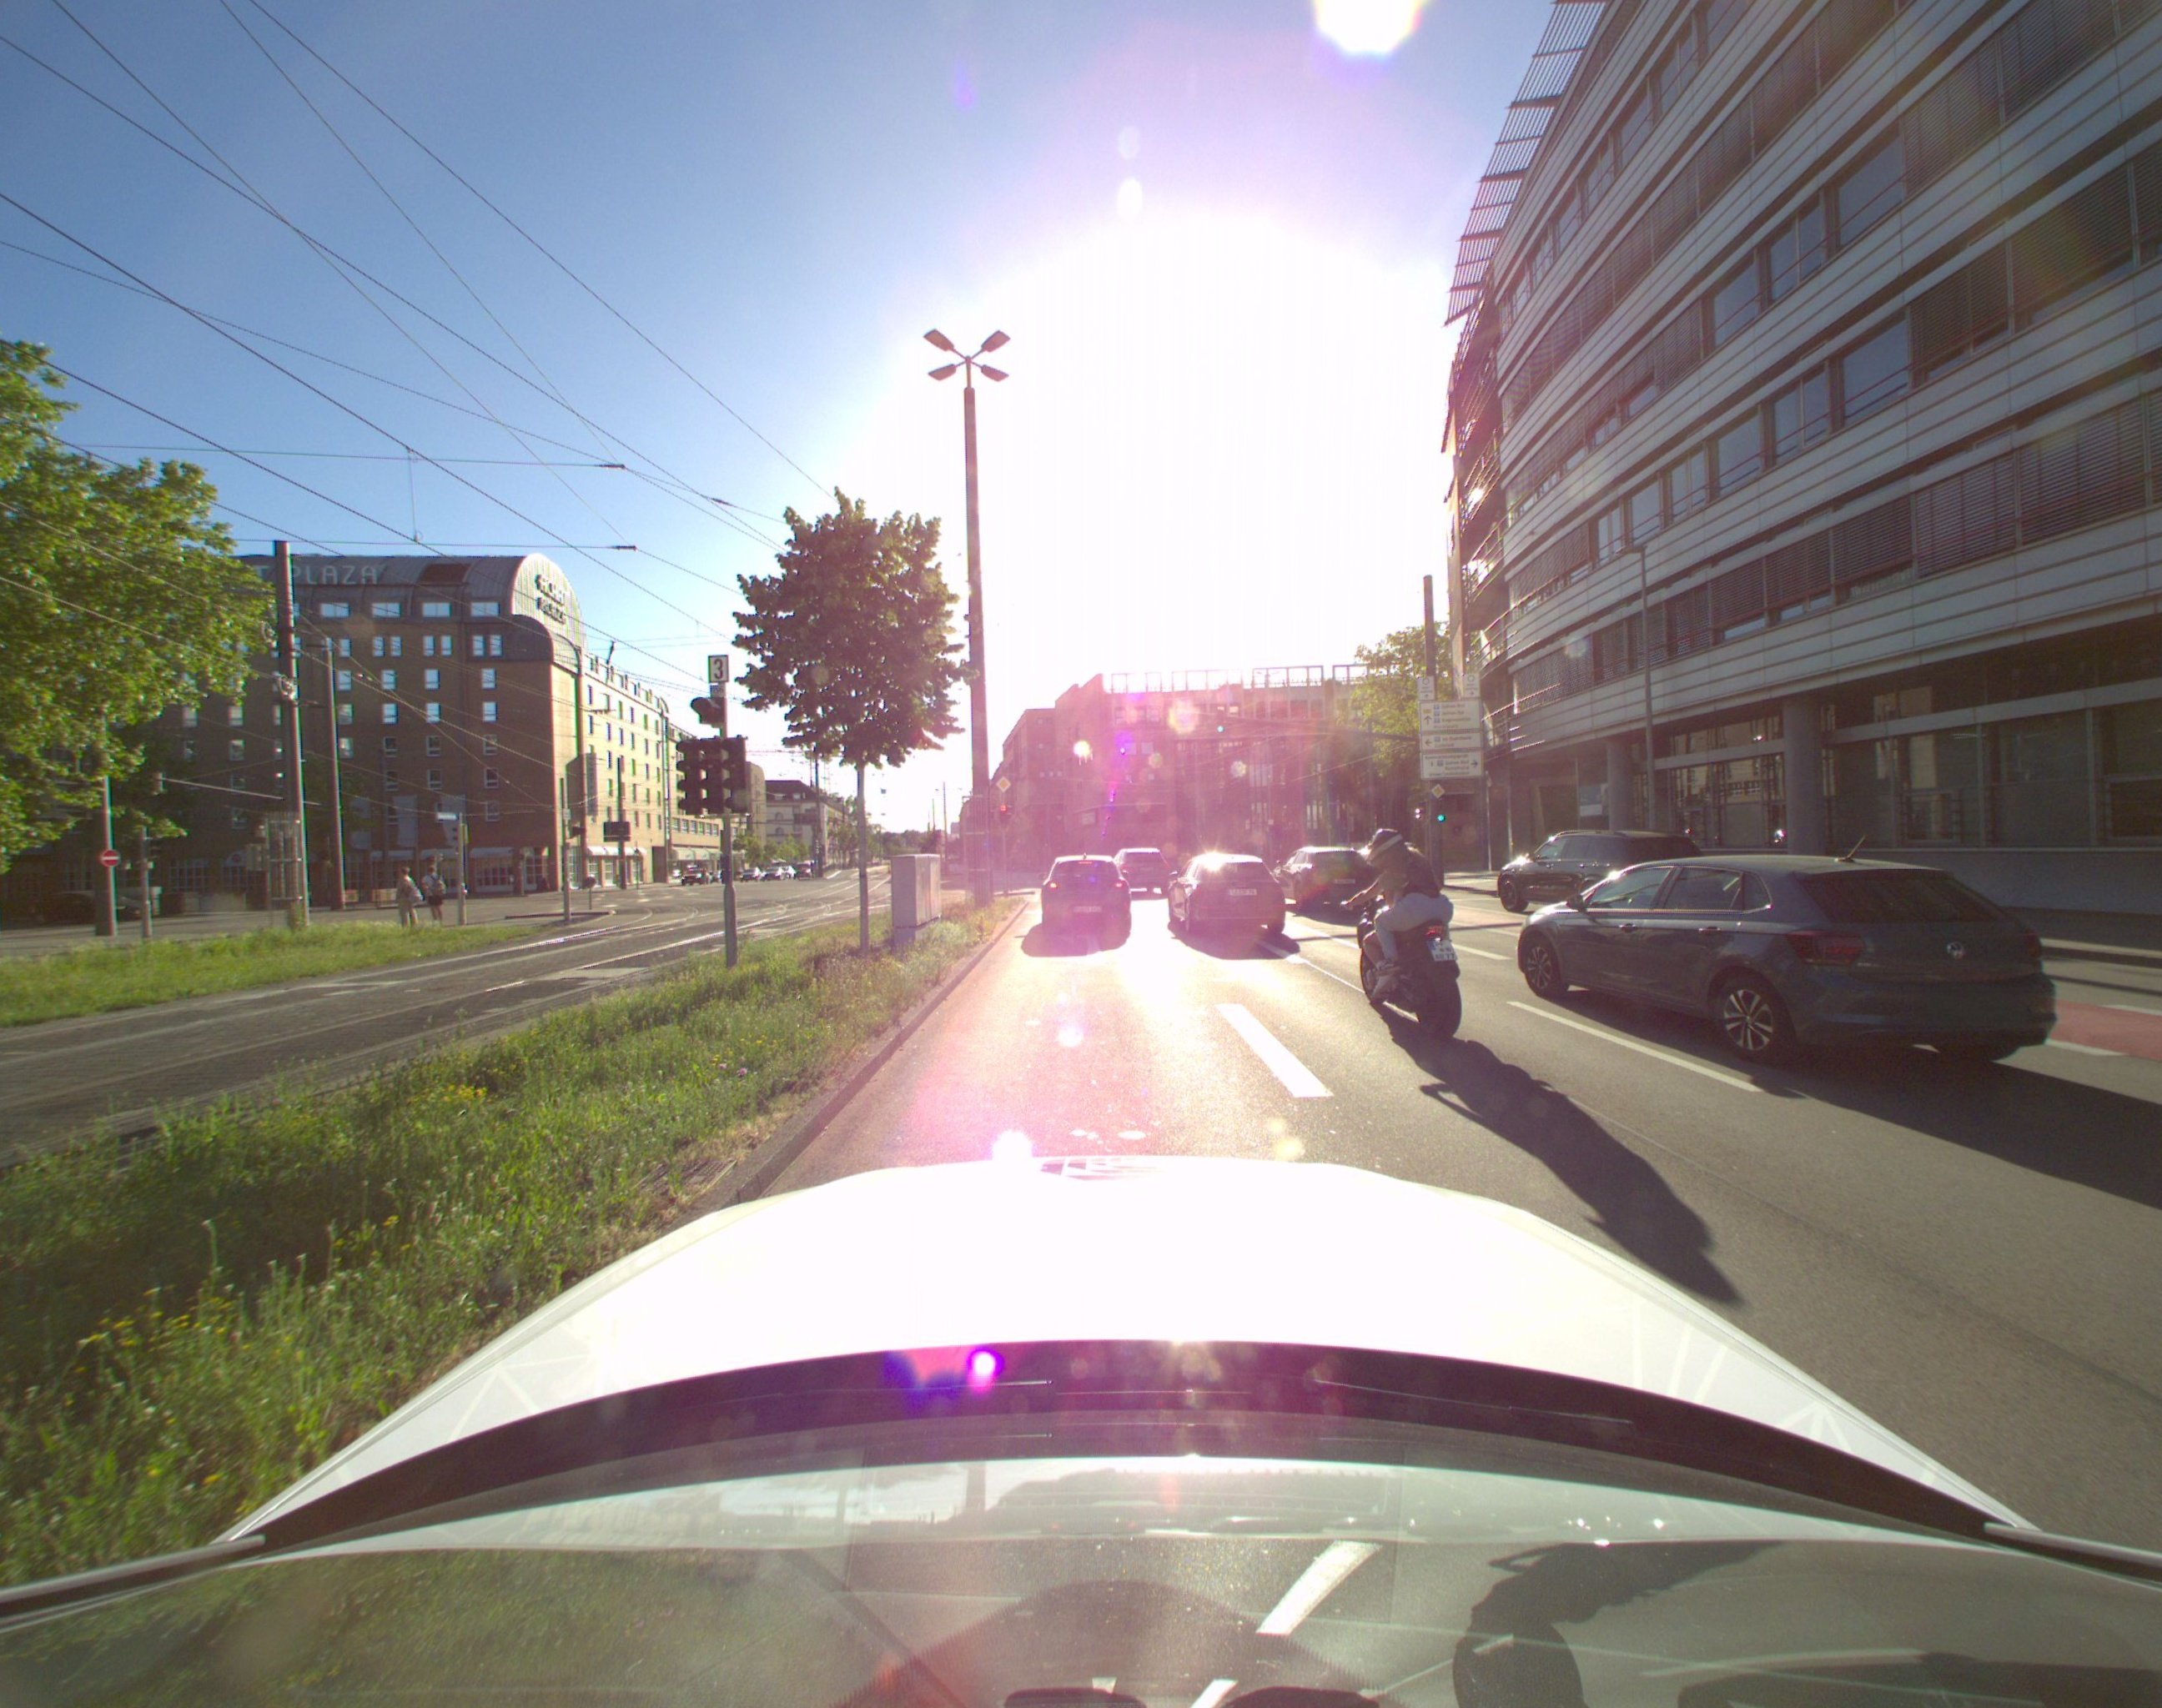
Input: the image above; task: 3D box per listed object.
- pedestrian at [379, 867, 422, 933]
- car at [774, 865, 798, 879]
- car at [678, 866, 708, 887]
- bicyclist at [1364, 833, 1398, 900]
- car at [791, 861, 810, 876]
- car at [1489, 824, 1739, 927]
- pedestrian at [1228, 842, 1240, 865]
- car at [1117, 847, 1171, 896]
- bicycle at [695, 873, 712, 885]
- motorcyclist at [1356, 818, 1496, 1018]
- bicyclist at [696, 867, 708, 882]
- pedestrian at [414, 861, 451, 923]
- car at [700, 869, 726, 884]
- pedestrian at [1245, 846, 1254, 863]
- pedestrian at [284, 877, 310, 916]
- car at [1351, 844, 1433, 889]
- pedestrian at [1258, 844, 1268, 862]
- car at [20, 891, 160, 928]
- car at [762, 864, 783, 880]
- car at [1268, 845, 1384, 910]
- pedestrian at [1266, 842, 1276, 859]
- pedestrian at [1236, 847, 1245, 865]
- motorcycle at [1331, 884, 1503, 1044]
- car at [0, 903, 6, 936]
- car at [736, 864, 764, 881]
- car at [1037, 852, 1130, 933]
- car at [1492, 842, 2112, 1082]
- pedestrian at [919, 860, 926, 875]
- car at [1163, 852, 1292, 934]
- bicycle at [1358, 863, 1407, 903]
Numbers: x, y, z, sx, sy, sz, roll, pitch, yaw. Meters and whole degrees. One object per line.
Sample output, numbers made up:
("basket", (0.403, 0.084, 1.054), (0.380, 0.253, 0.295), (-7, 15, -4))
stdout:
("pedestrian", (-19.589, 1.305, 23.467), (0.630, 1.830, 0.661), (-2, 0, -6))
("car", (-34.435, 2.110, 95.213), (1.570, 1.449, 3.994), (-2, 0, -4))
("car", (-40.822, 2.371, 85.777), (1.996, 2.013, 3.982), (-2, 0, -13))
("bicyclist", (8.247, 0.346, 22.411), (0.575, 1.791, 0.864), (-2, 0, 3))
("car", (-30.259, 1.564, 87.982), (1.749, 1.504, 3.858), (-2, 0, -17))
("car", (10.558, 0.380, 16.603), (1.990, 1.750, 4.321), (-2, 0, -5))
("pedestrian", (11.686, -0.048, 62.268), (0.700, 1.759, 0.564), (-2, 0, 25))
("car", (2.249, 0.603, 30.031), (1.731, 1.651, 4.001), (-2, 0, 1))
("bicycle", (-36.673, 2.450, 79.175), (0.649, 1.085, 2.919), (-2, 0, -7))
("motorcyclist", (2.846, 0.497, 6.824), (0.741, 1.530, 1.022), (-2, 0, 4))
("bicyclist", (-36.673, 2.012, 78.775), (0.757, 1.375, 0.948), (-2, 0, -7))
("pedestrian", (-19.552, 1.122, 24.556), (0.562, 1.817, 0.661), (-2, 0, -6))
("car", (-42.082, 2.543, 93.124), (1.887, 1.510, 3.982), (-2, 0, -13))
("pedestrian", (16.459, 0.049, 79.453), (0.734, 1.617, 0.562), (-2, 0, 8))
("pedestrian", (-41.262, 2.233, 42.873), (0.663, 2.013, 0.678), (-2, 0, 1))
("car", (10.854, 0.383, 28.687), (1.981, 1.419, 4.011), (0, 1, 10))
("pedestrian", (17.257, -0.089, 77.275), (0.895, 1.617, 0.562), (-2, 0, 8))
("car", (-46.078, 2.550, 37.946), (3.982, 1.420, 1.756), (-2, 0, -6))
("car", (-32.579, 1.893, 86.043), (1.749, 1.504, 3.858), (-2, 0, -17))
("car", (6.040, 0.517, 20.587), (1.801, 1.457, 4.001), (-1, 0, 1))
("pedestrian", (18.282, -0.321, 78.372), (0.895, 1.617, 0.562), (-2, 0, 8))
("pedestrian", (13.070, 0.169, 66.704), (0.528, 1.430, 0.598), (-2, 0, 0))
("motorcycle", (2.872, 0.876, 7.211), (0.772, 1.115, 1.971), (-2, 0, 3))
("car", (-43.814, 2.610, 30.631), (3.975, 1.266, 1.999), (-2, 0, -1))
("car", (-35.963, 1.989, 88.611), (1.996, 1.596, 4.717), (-2, 0, -13))
("car", (0.101, 0.696, 16.842), (1.643, 1.433, 4.001), (-2, 0, 1))
("car", (5.497, 0.657, 7.053), (1.802, 1.457, 3.998), (-1, 0, -1))
("pedestrian", (-17.542, 1.454, 90.175), (0.743, 1.640, 0.764), (-2, 0, -13))
("car", (2.727, 0.667, 16.027), (1.732, 1.349, 3.999), (-2, 0, -1))
("bicycle", (8.259, 0.762, 22.401), (0.490, 0.997, 2.329), (-2, 0, 2))
